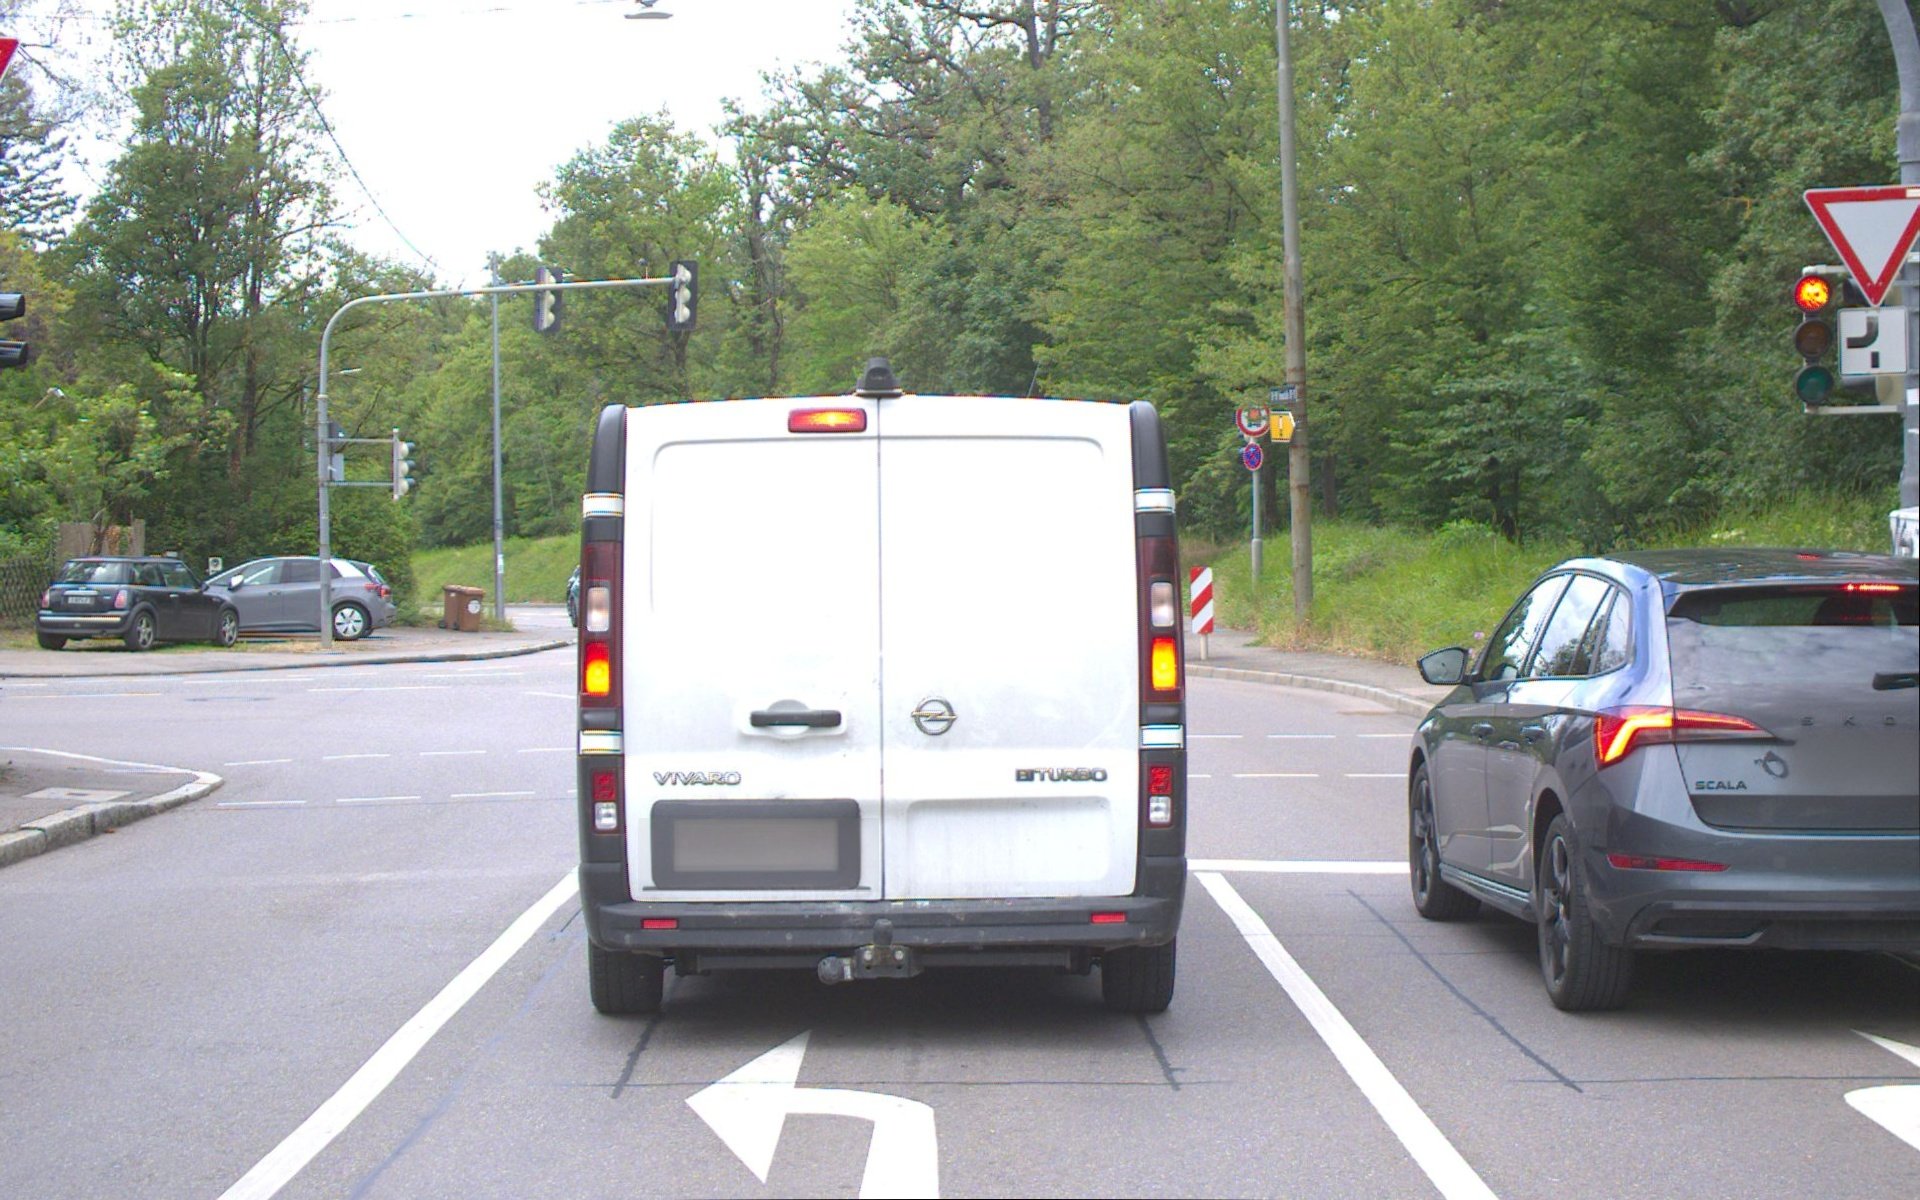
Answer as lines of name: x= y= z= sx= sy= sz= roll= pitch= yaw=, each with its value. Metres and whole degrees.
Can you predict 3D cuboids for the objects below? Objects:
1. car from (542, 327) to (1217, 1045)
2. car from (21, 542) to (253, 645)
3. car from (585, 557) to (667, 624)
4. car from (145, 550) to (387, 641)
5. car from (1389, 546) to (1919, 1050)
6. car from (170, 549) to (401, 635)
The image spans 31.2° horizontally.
car: x=-0.333 y=0.212 z=12.269 sx=1.916 sy=2.046 sz=4.615 roll=1 pitch=1 yaw=-3
car: x=-12.304 y=-0.109 z=51.579 sx=1.699 sy=1.444 sz=3.539 roll=2 pitch=1 yaw=20
car: x=-8.013 y=-0.254 z=82.703 sx=1.856 sy=1.501 sz=4.001 roll=-1 pitch=1 yaw=-5
car: x=-12.500 y=-0.107 z=61.880 sx=4.085 sy=1.548 sz=1.855 roll=-1 pitch=2 yaw=-17
car: x=2.683 y=0.547 z=12.043 sx=1.792 sy=1.445 sz=4.000 roll=0 pitch=1 yaw=-1
car: x=-12.737 y=-0.169 z=64.869 sx=4.085 sy=1.548 sz=1.855 roll=-1 pitch=2 yaw=-17
